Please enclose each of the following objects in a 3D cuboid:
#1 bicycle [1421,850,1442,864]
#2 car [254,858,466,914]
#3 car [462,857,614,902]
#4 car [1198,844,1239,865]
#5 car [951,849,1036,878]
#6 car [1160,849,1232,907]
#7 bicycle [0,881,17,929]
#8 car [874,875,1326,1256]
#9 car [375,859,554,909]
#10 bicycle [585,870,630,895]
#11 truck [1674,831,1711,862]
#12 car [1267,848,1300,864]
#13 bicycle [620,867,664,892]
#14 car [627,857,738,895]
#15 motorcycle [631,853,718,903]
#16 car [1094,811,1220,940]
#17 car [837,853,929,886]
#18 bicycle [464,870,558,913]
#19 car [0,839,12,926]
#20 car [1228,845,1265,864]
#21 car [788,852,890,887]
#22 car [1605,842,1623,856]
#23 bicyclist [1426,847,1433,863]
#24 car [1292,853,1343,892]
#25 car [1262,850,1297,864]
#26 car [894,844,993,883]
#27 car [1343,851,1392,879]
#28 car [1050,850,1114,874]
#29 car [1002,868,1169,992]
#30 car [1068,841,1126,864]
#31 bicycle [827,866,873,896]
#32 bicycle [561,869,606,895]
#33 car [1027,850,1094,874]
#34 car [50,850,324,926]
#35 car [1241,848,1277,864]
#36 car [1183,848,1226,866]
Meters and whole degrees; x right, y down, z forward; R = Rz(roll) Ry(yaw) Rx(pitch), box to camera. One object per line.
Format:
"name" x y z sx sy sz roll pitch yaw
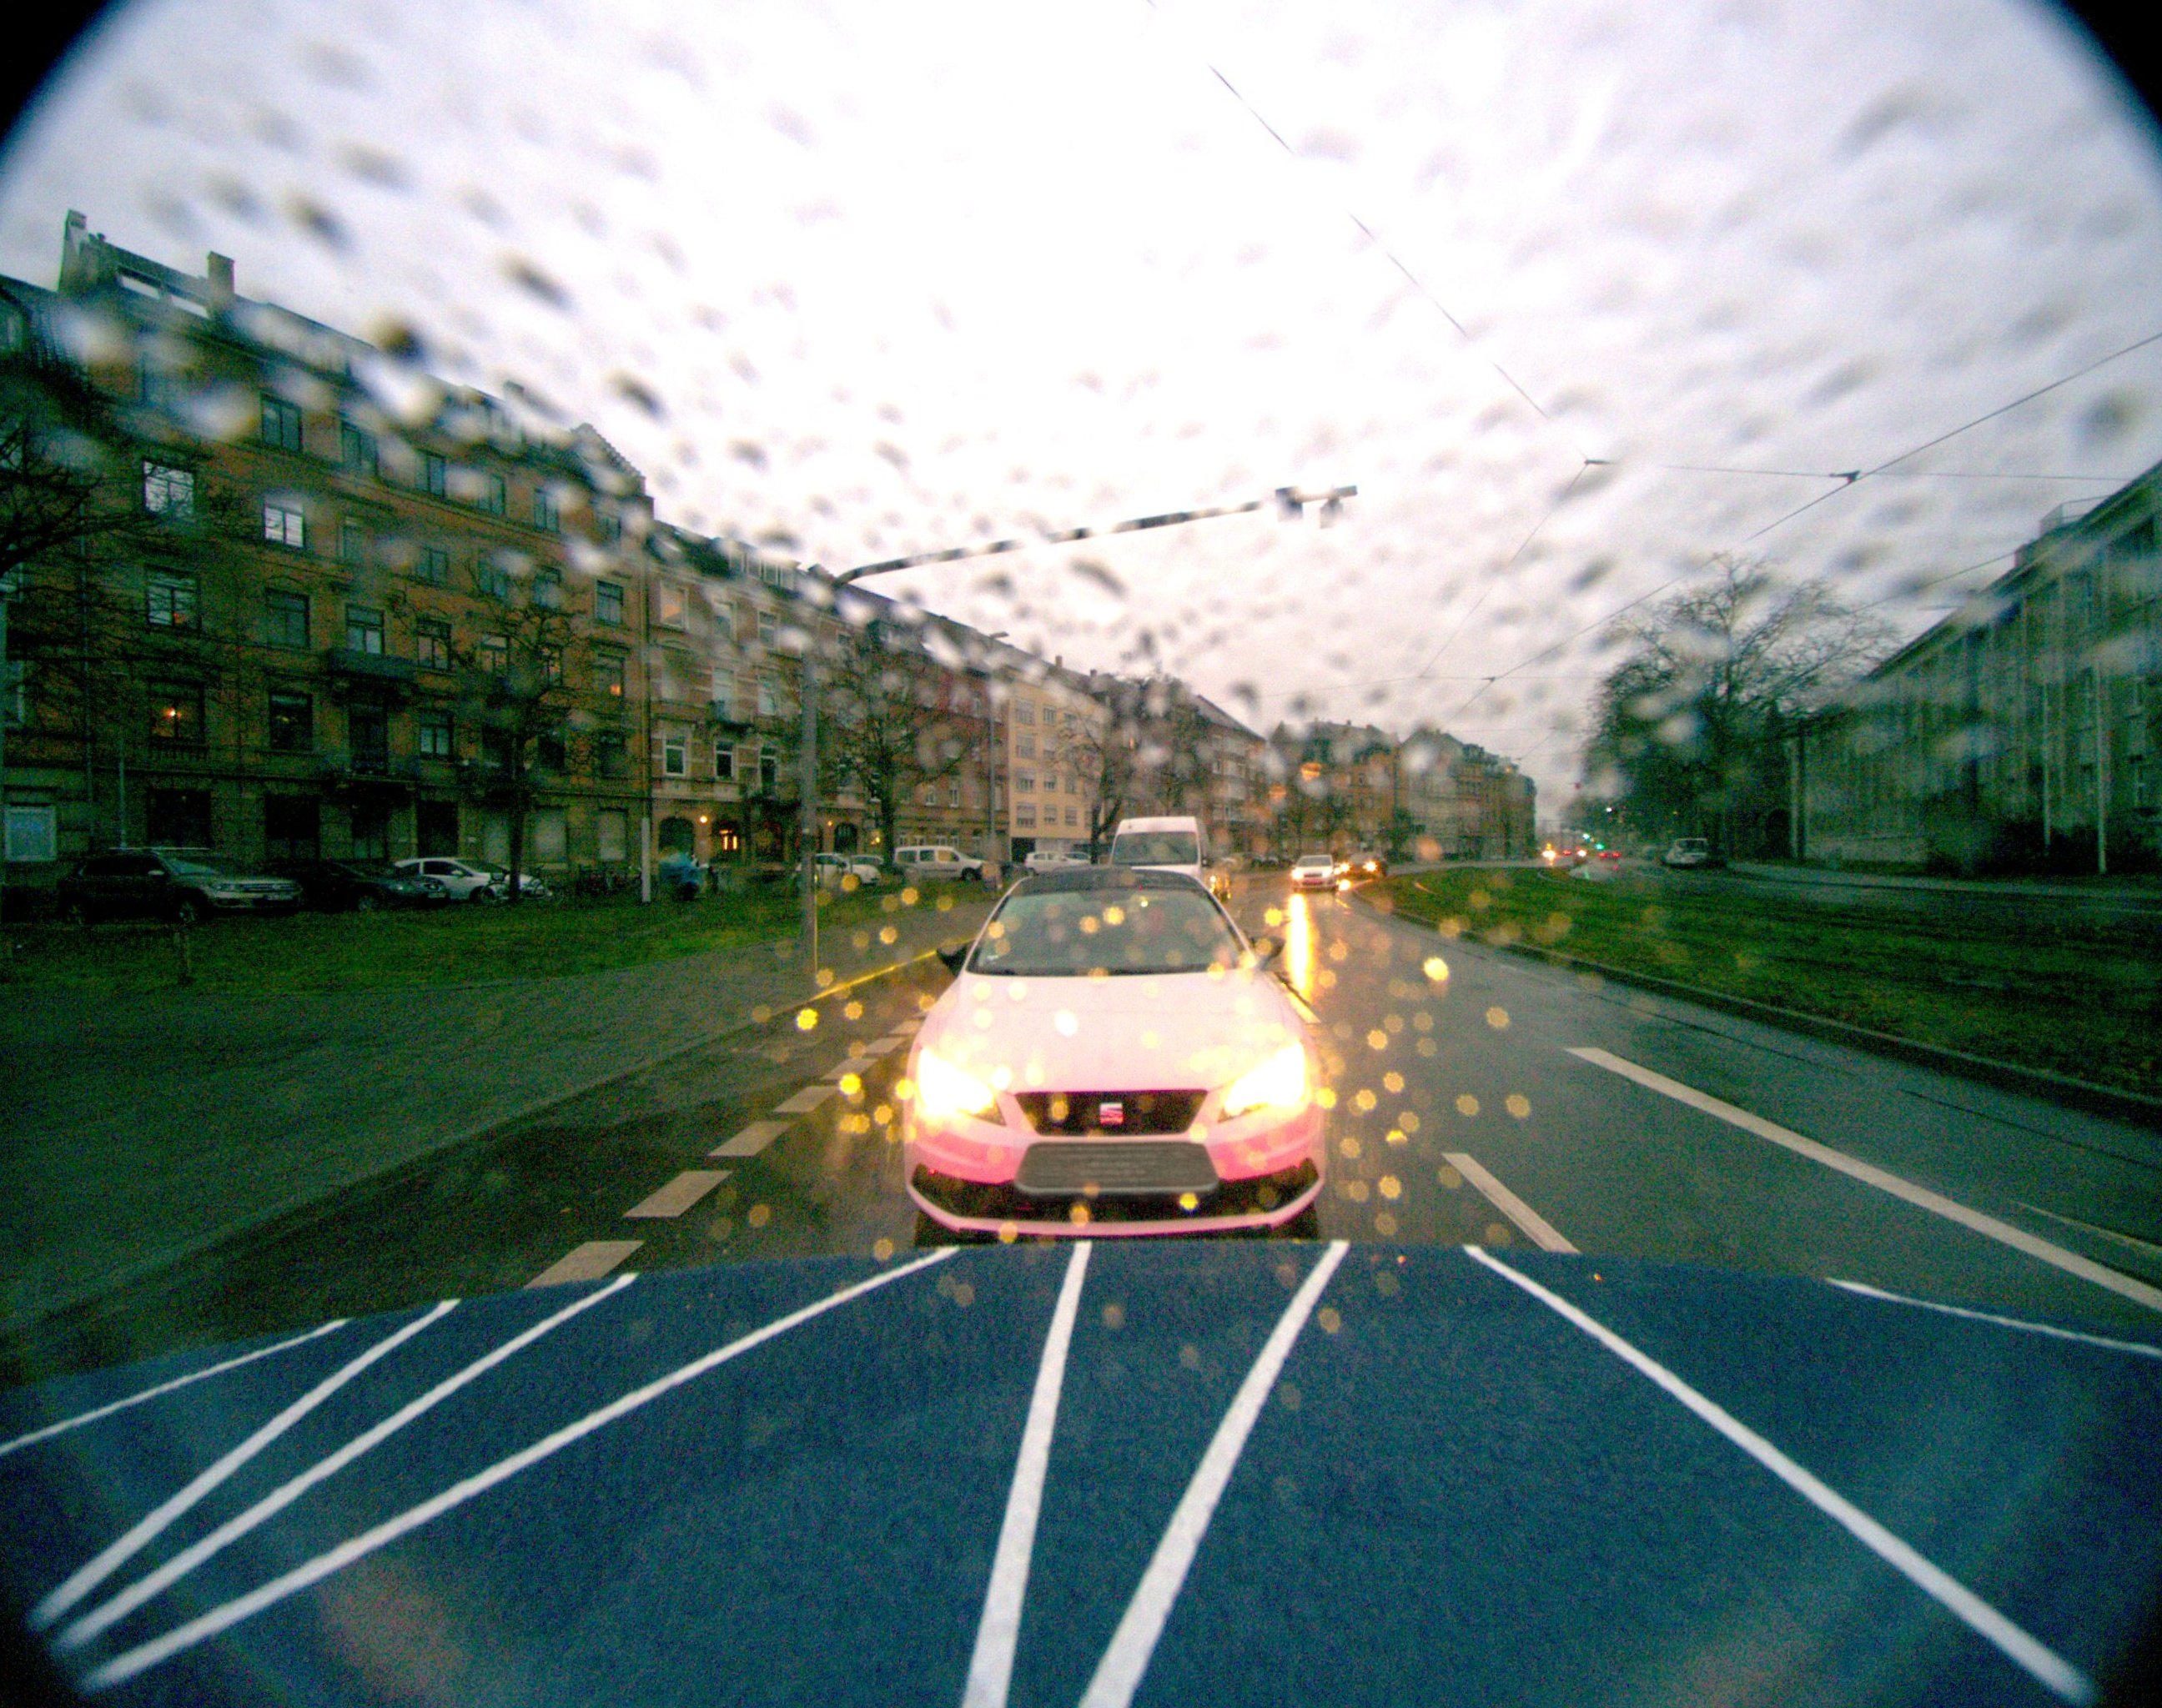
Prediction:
"bicycle" 45.609 0.387 98.882 2.446 1.697 0.847 -2 1 30
"car" -17.817 0.769 18.883 3.684 1.298 1.742 -1 0 4
"car" -16.783 0.764 23.576 3.684 1.298 1.521 -1 0 4
"car" 11.257 0.053 62.111 3.181 1.615 1.429 -1 0 13
"car" -4.420 0.474 38.718 3.958 1.436 1.703 -1 0 10
"car" 3.841 0.715 24.830 1.874 1.679 4.175 -1 0 15
"bicycle" -22.183 0.990 15.118 1.792 0.926 0.446 1 1 10
"car" 0.134 0.927 5.207 1.787 1.370 4.223 -2 0 2
"car" -17.048 0.816 21.118 3.684 1.298 1.669 -1 0 4
"bicycle" -15.912 0.940 25.521 1.790 0.773 0.447 1 1 28
"truck" 41.371 -0.494 51.484 1.833 2.032 4.008 0 0 37
"car" 20.391 0.205 76.487 3.181 1.474 1.383 -1 0 14
"bicycle" -15.392 0.892 26.615 1.791 0.813 0.395 1 1 25
"car" -14.754 0.800 28.210 3.297 1.298 1.522 -1 0 5
"motorcycle" -12.074 0.696 22.575 2.352 1.338 0.886 2 2 19
"car" 1.951 0.407 17.358 2.239 2.448 5.674 -1 0 12
"car" -8.869 0.672 34.123 3.684 1.428 1.522 -1 0 5
"bicycle" -14.579 0.938 19.489 1.911 1.013 0.535 0 1 -36
"car" -29.181 0.749 17.788 1.994 2.176 4.670 -1 0 33
"car" 14.530 0.086 66.730 3.181 1.615 1.447 -1 0 13
"car" -10.034 0.648 31.635 3.684 1.391 1.522 -1 0 5
"car" 62.784 -0.562 89.507 1.686 1.630 3.654 0 0 34
"bicyclist" 45.407 0.103 98.981 0.777 2.002 0.831 -2 1 30
"car" 9.578 0.713 30.625 1.687 1.422 3.351 -1 0 22
"car" 18.866 0.243 72.158 3.181 1.276 1.383 -1 0 14
"car" -6.531 0.434 36.471 4.341 1.757 1.782 -1 0 4
"car" 16.558 0.605 43.860 1.836 1.524 3.824 -1 0 33
"car" 0.069 0.468 45.896 3.609 1.362 1.619 -1 0 9
"car" 0.254 0.965 11.108 1.722 1.380 3.825 -1 0 11
"car" 1.033 -0.104 48.393 3.611 1.362 1.618 -1 0 3
"bicycle" -7.922 0.914 25.994 1.790 0.926 0.447 2 1 33
"bicycle" -16.412 0.913 25.037 1.790 0.790 0.447 1 1 28
"car" -1.163 0.457 43.627 3.609 1.362 1.619 -1 0 9
"car" -19.546 0.715 16.726 4.152 1.560 1.742 -1 0 4
"car" 16.213 0.206 69.142 3.181 1.405 1.383 -1 0 14
"car" 9.709 0.234 59.684 3.181 1.420 1.429 -1 0 13
